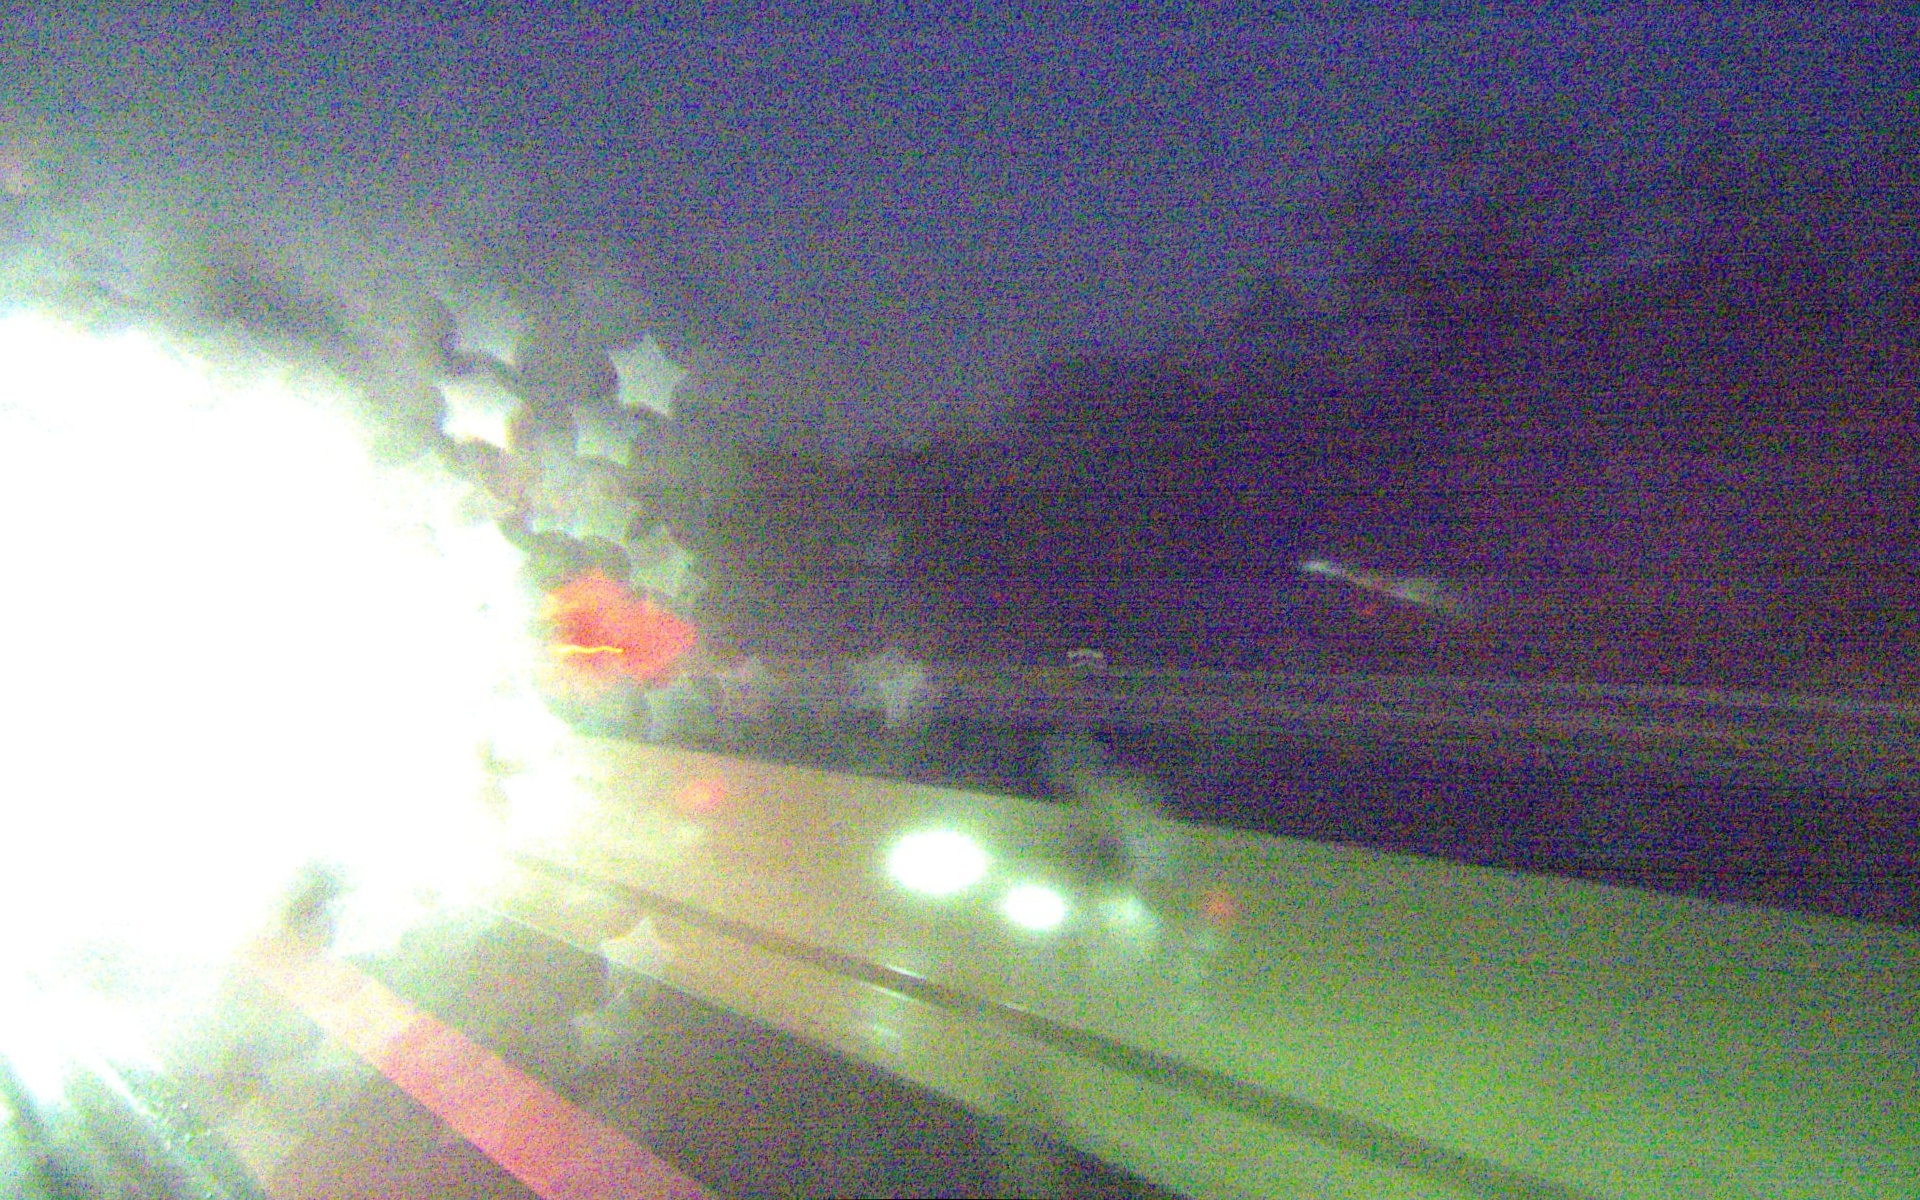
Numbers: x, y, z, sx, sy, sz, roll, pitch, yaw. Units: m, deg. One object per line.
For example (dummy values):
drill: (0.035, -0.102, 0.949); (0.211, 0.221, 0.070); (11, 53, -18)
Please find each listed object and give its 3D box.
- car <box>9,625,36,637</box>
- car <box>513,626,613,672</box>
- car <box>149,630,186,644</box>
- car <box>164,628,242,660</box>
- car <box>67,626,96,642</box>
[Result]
car: (-112.311, 3.707, 121.231); (4.349, 1.433, 1.764); (-1, -3, 40)
car: (-18.149, 2.187, 46.121); (5.384, 1.963, 1.973); (-2, -3, 41)
car: (-65.754, 3.053, 83.996); (4.043, 1.111, 1.621); (-1, 0, 40)
car: (-35.470, 2.063, 47.391); (4.587, 1.426, 1.973); (-2, -3, 41)
car: (-98.640, 3.791, 113.603); (5.371, 1.595, 1.872); (-1, 0, 43)
